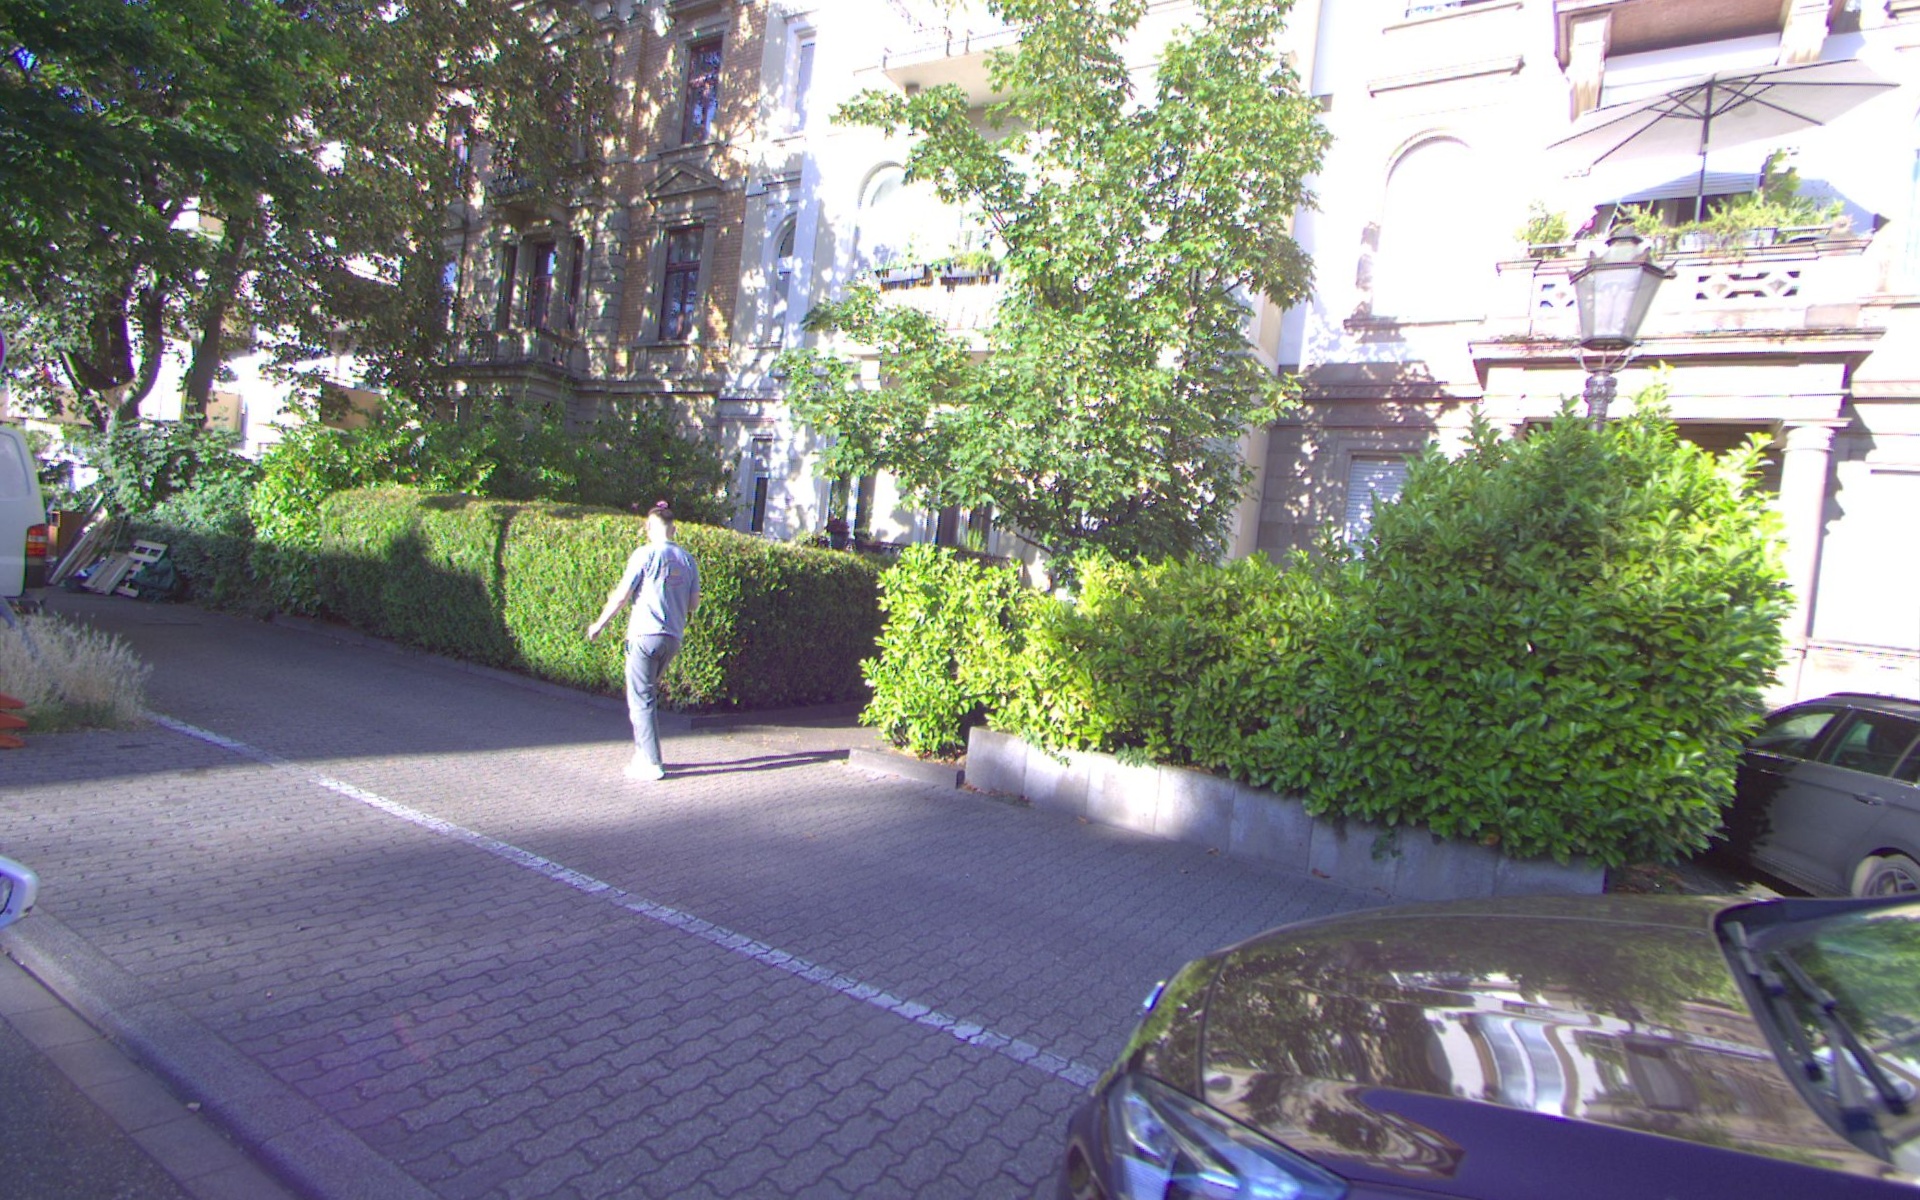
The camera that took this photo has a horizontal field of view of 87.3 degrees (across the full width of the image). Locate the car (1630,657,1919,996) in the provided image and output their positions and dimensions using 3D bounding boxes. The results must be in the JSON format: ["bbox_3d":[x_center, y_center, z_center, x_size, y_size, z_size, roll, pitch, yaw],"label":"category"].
[{"bbox_3d":[6.075,1.336,6.156,1.758,1.531,4.249,7,2,13],"label":"car"}]

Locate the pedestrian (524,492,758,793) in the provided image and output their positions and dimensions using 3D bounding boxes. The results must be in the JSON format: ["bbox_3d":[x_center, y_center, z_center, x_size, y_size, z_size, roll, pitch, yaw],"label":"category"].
[{"bbox_3d":[-2.135,0.260,6.769,1.070,1.796,0.822,7,1,28],"label":"pedestrian"}]

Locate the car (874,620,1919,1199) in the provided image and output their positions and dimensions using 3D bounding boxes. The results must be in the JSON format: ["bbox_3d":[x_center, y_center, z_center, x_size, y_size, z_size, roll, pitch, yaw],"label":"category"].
[{"bbox_3d":[2.257,0.998,0.996,4.538,1.439,1.757,7,2,31],"label":"car"}]

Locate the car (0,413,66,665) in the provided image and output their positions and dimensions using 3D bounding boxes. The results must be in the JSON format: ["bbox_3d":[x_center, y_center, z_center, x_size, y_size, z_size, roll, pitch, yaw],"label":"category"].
[{"bbox_3d":[-10.412,-0.783,9.201,4.562,2.129,1.906,7,0,30],"label":"car"}]
